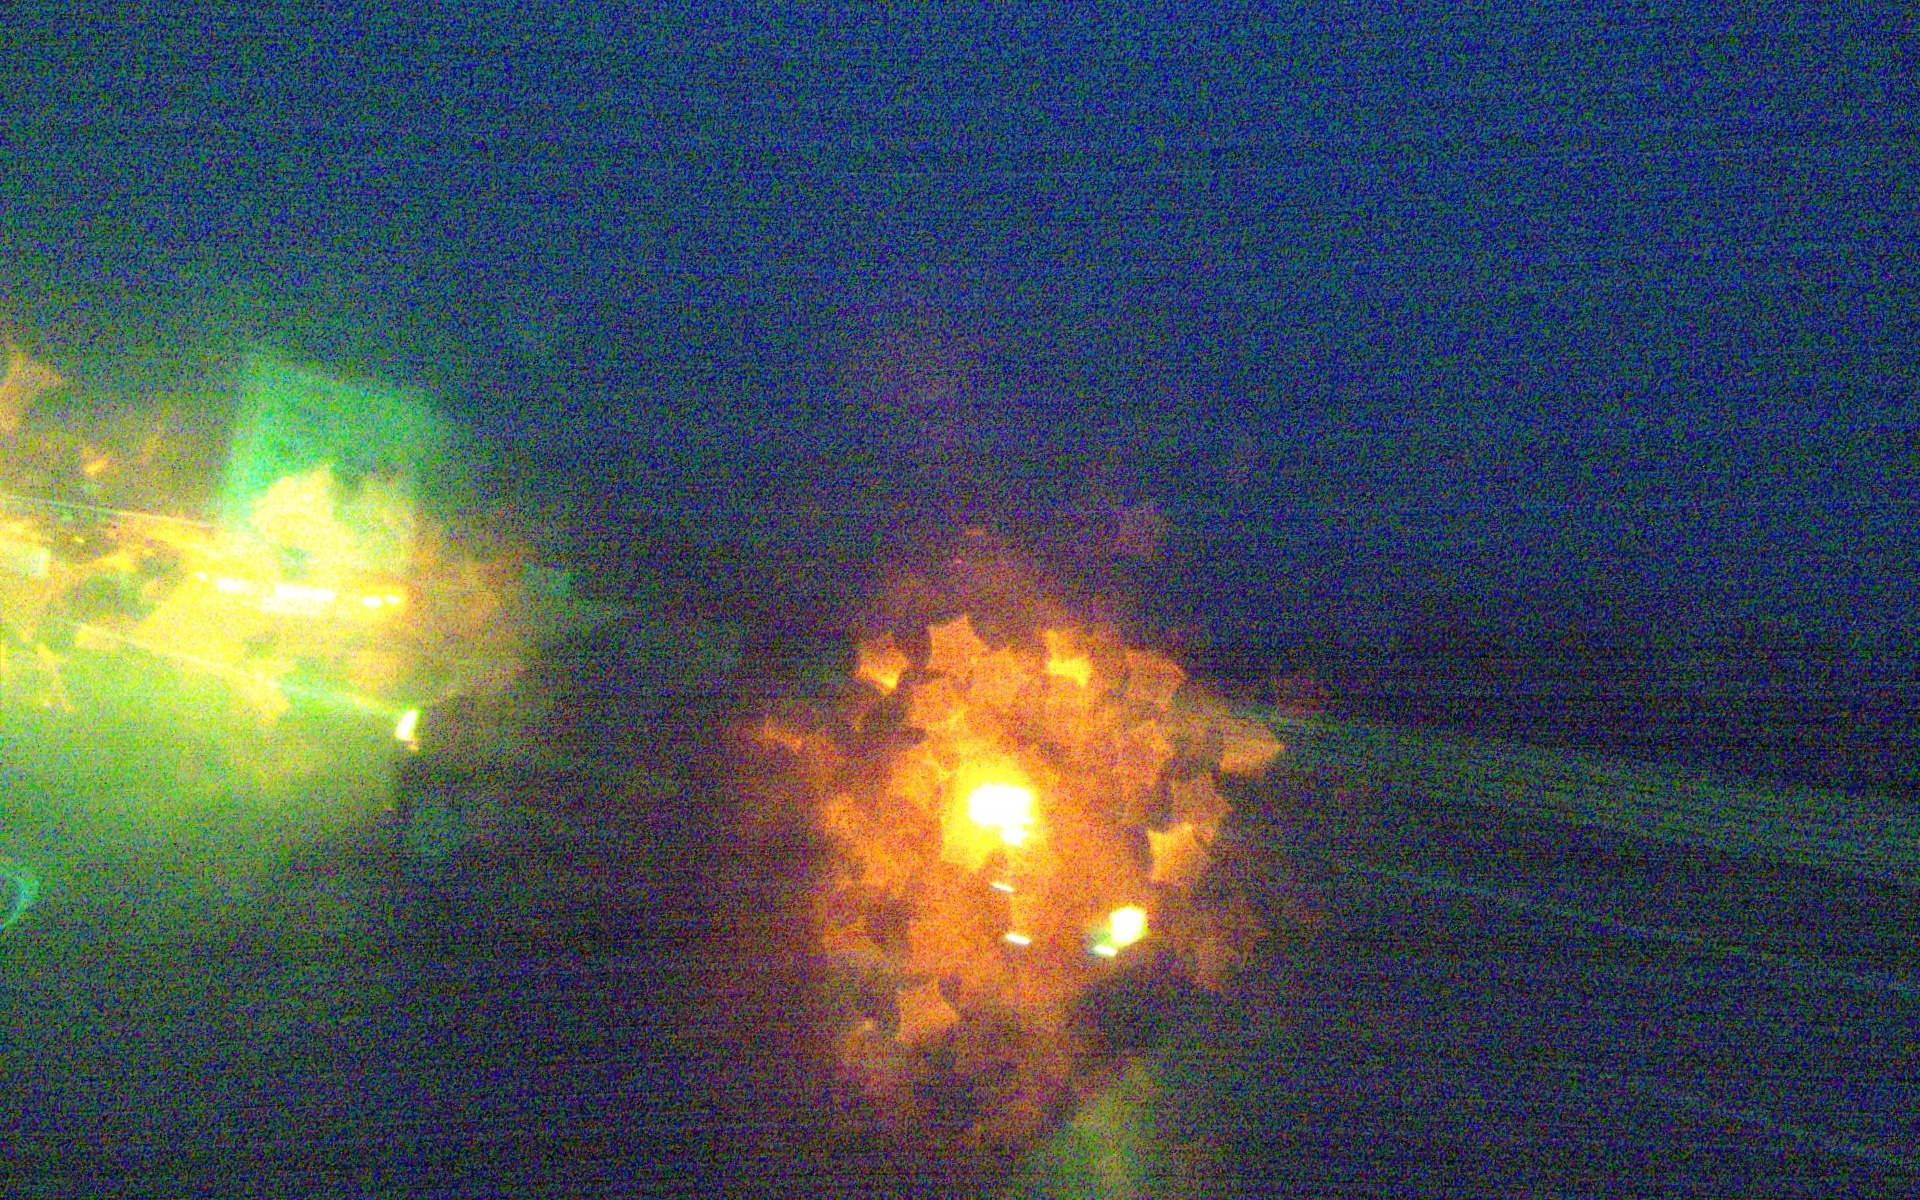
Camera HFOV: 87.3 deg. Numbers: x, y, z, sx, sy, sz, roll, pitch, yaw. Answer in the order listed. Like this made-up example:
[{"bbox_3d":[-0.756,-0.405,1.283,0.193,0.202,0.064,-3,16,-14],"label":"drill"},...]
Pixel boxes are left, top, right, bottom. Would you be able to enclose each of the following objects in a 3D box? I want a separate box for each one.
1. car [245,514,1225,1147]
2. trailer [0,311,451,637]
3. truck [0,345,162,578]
[{"bbox_3d":[-1.257,0.628,4.752,4.419,1.594,1.743,6,-1,31],"label":"car"},{"bbox_3d":[-14.835,-2.287,18.052,14.246,4.161,2.905,7,1,32],"label":"trailer"},{"bbox_3d":[-20.074,-2.909,21.299,5.930,4.161,2.906,7,1,32],"label":"truck"}]
